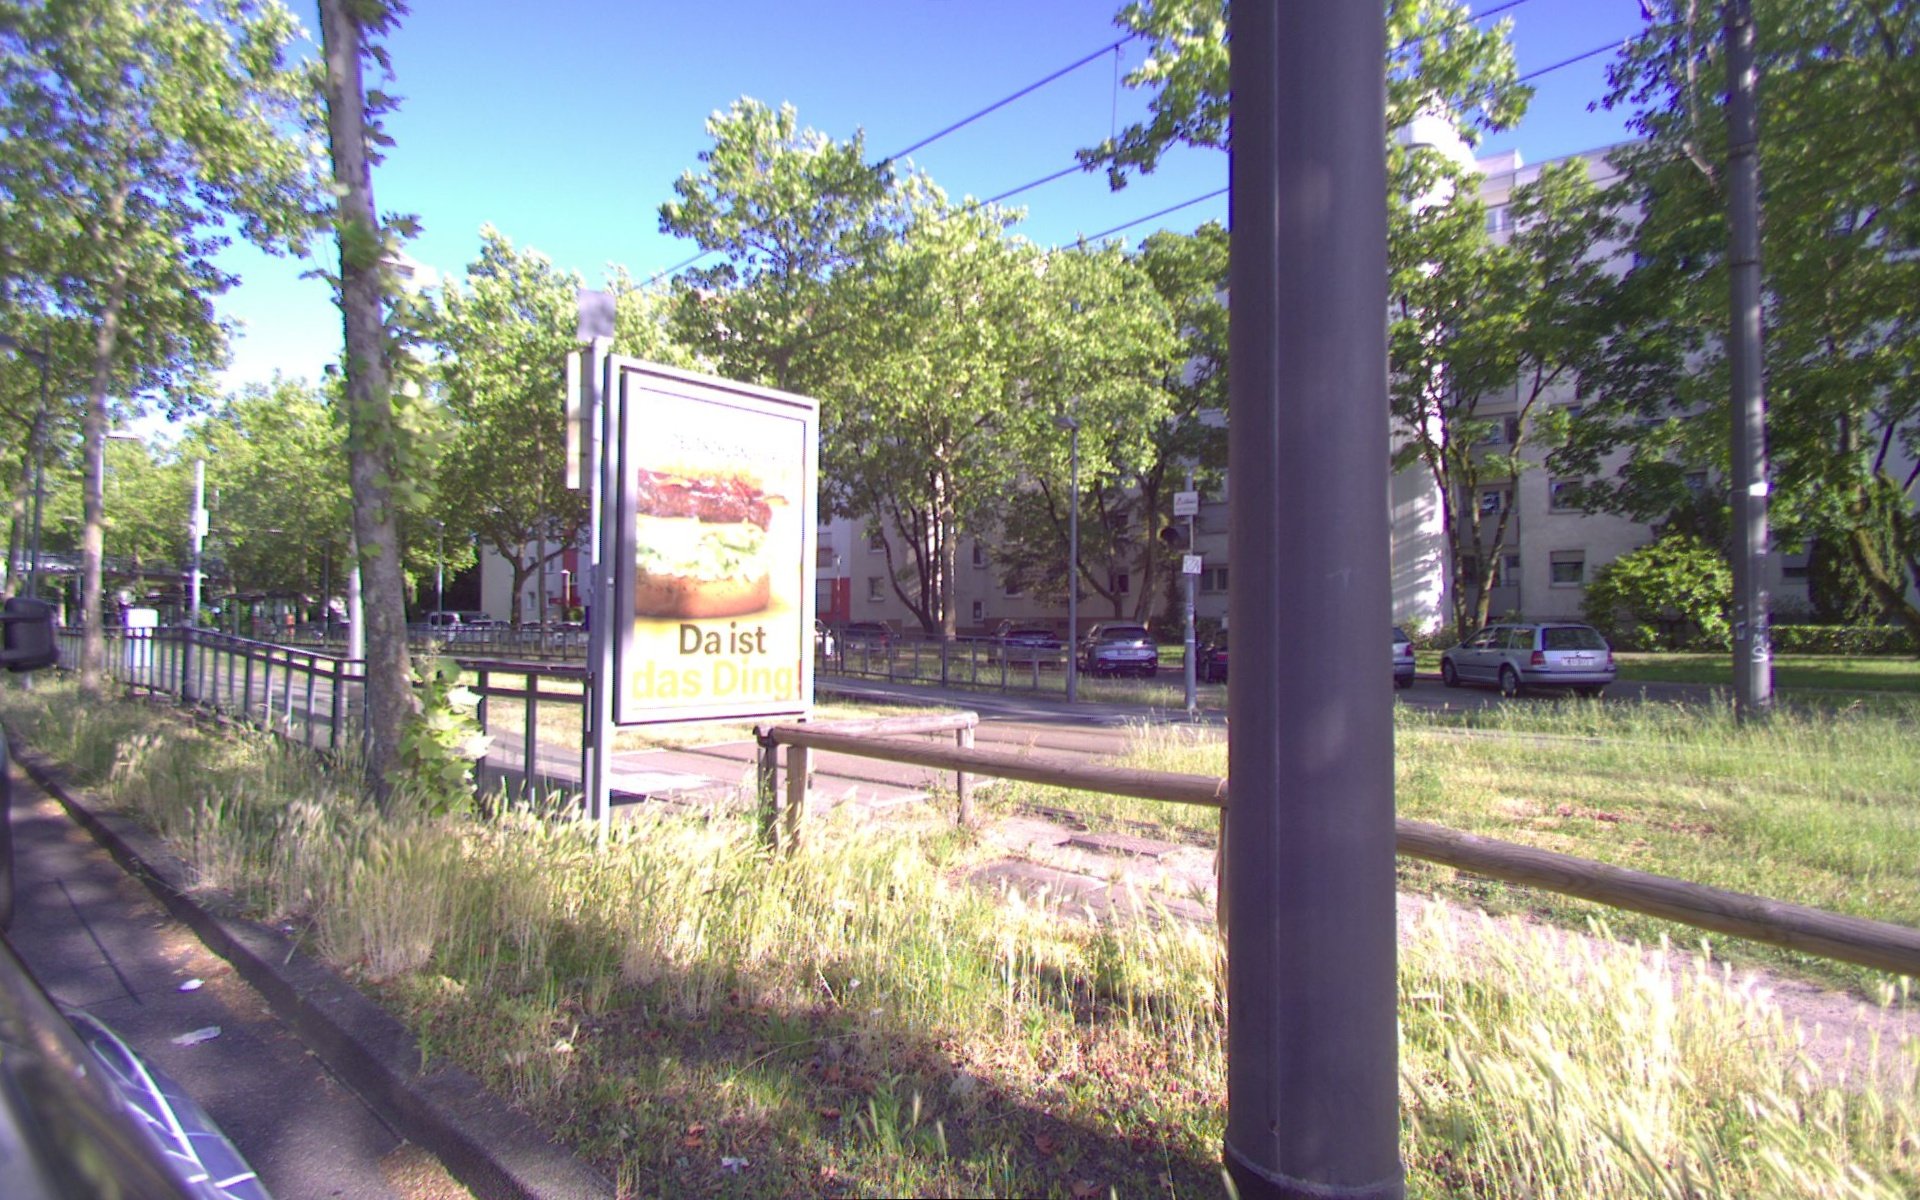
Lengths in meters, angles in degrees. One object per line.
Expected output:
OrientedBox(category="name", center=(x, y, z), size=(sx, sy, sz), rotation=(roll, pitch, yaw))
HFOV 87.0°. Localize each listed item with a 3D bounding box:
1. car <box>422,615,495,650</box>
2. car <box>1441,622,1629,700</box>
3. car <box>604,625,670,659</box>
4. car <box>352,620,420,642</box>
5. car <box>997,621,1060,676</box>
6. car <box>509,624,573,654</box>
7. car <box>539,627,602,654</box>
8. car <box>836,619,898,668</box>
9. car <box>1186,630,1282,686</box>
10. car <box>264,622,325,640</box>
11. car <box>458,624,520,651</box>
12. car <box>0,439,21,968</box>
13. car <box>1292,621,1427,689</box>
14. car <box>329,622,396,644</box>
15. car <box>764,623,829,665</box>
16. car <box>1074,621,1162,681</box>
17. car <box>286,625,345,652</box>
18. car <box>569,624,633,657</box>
OrientedBox(category="car", center=(-28.325, 1.817, 57.328), size=(1.898, 1.898, 4.365), rotation=(0, -1, 1))
OrientedBox(category="car", center=(11.547, 1.171, 20.626), size=(1.707, 1.444, 3.681), rotation=(0, -1, 1))
OrientedBox(category="car", center=(-14.082, 1.812, 44.280), size=(1.627, 1.403, 3.679), rotation=(0, -1, 2))
OrientedBox(category="car", center=(-37.662, 2.025, 66.520), size=(1.898, 1.386, 4.365), rotation=(0, -1, 1))
OrientedBox(category="car", center=(1.934, 1.361, 29.444), size=(1.664, 1.482, 3.680), rotation=(0, -1, 1))
OrientedBox(category="car", center=(-21.122, 1.951, 51.134), size=(1.627, 1.460, 3.680), rotation=(0, -1, 1))
OrientedBox(category="car", center=(-19.045, 1.972, 49.666), size=(1.627, 1.251, 3.680), rotation=(0, -1, 1))
OrientedBox(category="car", center=(-3.107, 1.452, 34.467), size=(1.664, 1.579, 3.679), rotation=(0, -1, 2))
OrientedBox(category="car", center=(6.729, 1.395, 25.205), size=(1.602, 1.256, 3.677), rotation=(0, -1, 4))
OrientedBox(category="car", center=(-52.142, 2.393, 79.367), size=(1.898, 1.386, 4.365), rotation=(0, -1, 1))
OrientedBox(category="car", center=(-25.796, 2.026, 55.519), size=(1.627, 1.407, 3.680), rotation=(0, -1, 1))
OrientedBox(category="car", center=(-6.407, 0.447, 5.050), size=(5.111, 2.131, 2.014), rotation=(-1, -1, 41))
OrientedBox(category="car", center=(9.153, 1.214, 23.525), size=(1.679, 1.444, 3.681), rotation=(0, -1, 1))
OrientedBox(category="car", center=(-40.280, 2.194, 68.393), size=(1.898, 1.386, 4.365), rotation=(0, -1, 1))
OrientedBox(category="car", center=(-5.909, 1.564, 36.917), size=(1.664, 1.444, 3.679), rotation=(0, -1, 2))
OrientedBox(category="car", center=(4.206, 1.340, 27.491), size=(1.894, 1.507, 3.680), rotation=(0, -1, 2))
OrientedBox(category="car", center=(-35.585, 2.083, 55.863), size=(3.757, 1.431, 1.801), rotation=(-1, -2, 42))
OrientedBox(category="car", center=(-16.681, 1.834, 47.136), size=(1.627, 1.460, 3.680), rotation=(0, -1, 1))
